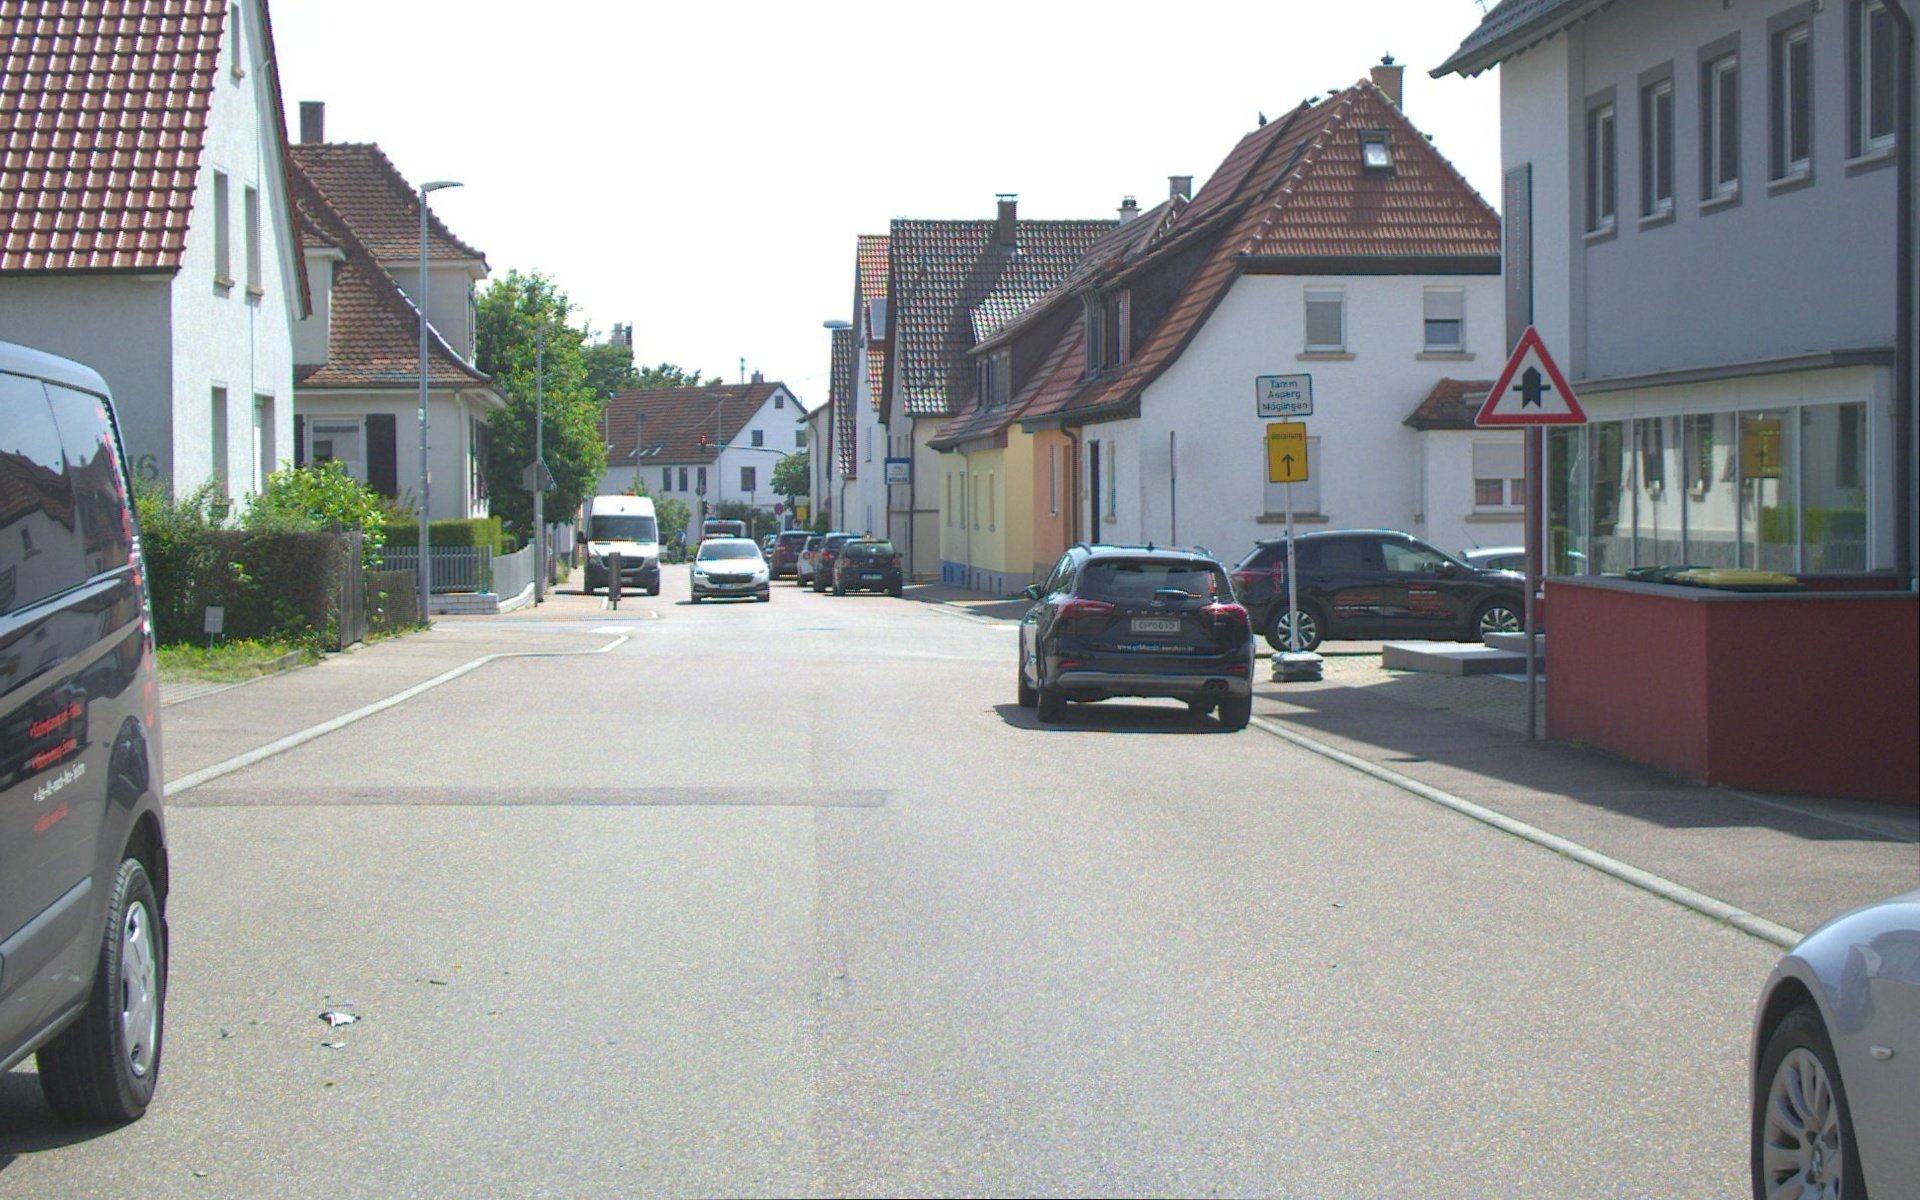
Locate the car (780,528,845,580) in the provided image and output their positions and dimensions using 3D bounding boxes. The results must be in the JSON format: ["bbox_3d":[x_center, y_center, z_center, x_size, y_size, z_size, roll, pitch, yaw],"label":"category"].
[{"bbox_3d":[-4.496,-1.404,104.490,1.673,1.553,3.041,0,1,-8],"label":"car"}]

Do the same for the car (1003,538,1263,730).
[{"bbox_3d":[1.433,0.237,30.114,1.761,1.522,4.407,1,1,-4],"label":"car"}]

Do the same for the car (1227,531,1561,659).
[{"bbox_3d":[5.772,-0.089,46.152,4.294,1.647,1.848,1,1,3],"label":"car"}]

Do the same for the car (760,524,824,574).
[{"bbox_3d":[-5.862,-1.797,119.660,1.875,1.694,4.184,0,1,-8],"label":"car"}]

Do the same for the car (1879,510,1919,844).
[{"bbox_3d":[6.993,0.406,16.938,4.366,1.663,1.877,0,1,-4],"label":"car"}]

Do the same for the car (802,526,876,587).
[{"bbox_3d":[-3.275,-1.195,92.633,1.728,1.594,4.254,0,1,-5],"label":"car"}]

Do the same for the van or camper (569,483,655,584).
[{"bbox_3d":[-9.331,-1.791,91.930,2.184,2.563,6.809,1,1,-6],"label":"van or camper"}]

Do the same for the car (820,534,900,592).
[{"bbox_3d":[-2.552,-0.957,87.042,1.610,1.426,3.755,0,1,-8],"label":"car"}]

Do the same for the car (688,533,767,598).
[{"bbox_3d":[-5.350,-0.821,79.027,1.753,1.433,4.589,0,1,-4],"label":"car"}]

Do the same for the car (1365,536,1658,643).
[{"bbox_3d":[8.012,-0.166,50.172,3.987,1.499,1.694,0,1,0],"label":"car"}]

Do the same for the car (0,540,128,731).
[{"bbox_3d":[-8.141,0.267,25.779,1.828,1.427,4.560,1,1,14],"label":"car"}]

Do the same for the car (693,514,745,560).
[{"bbox_3d":[-11.511,-3.025,164.581,2.129,2.151,4.736,0,1,0],"label":"car"}]

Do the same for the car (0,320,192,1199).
[{"bbox_3d":[-2.972,0.402,7.109,1.968,1.945,4.697,-1,1,-4],"label":"car"}]

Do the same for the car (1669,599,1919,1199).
[{"bbox_3d":[2.567,0.780,5.217,1.751,1.416,4.422,2,1,-4],"label":"car"}]
